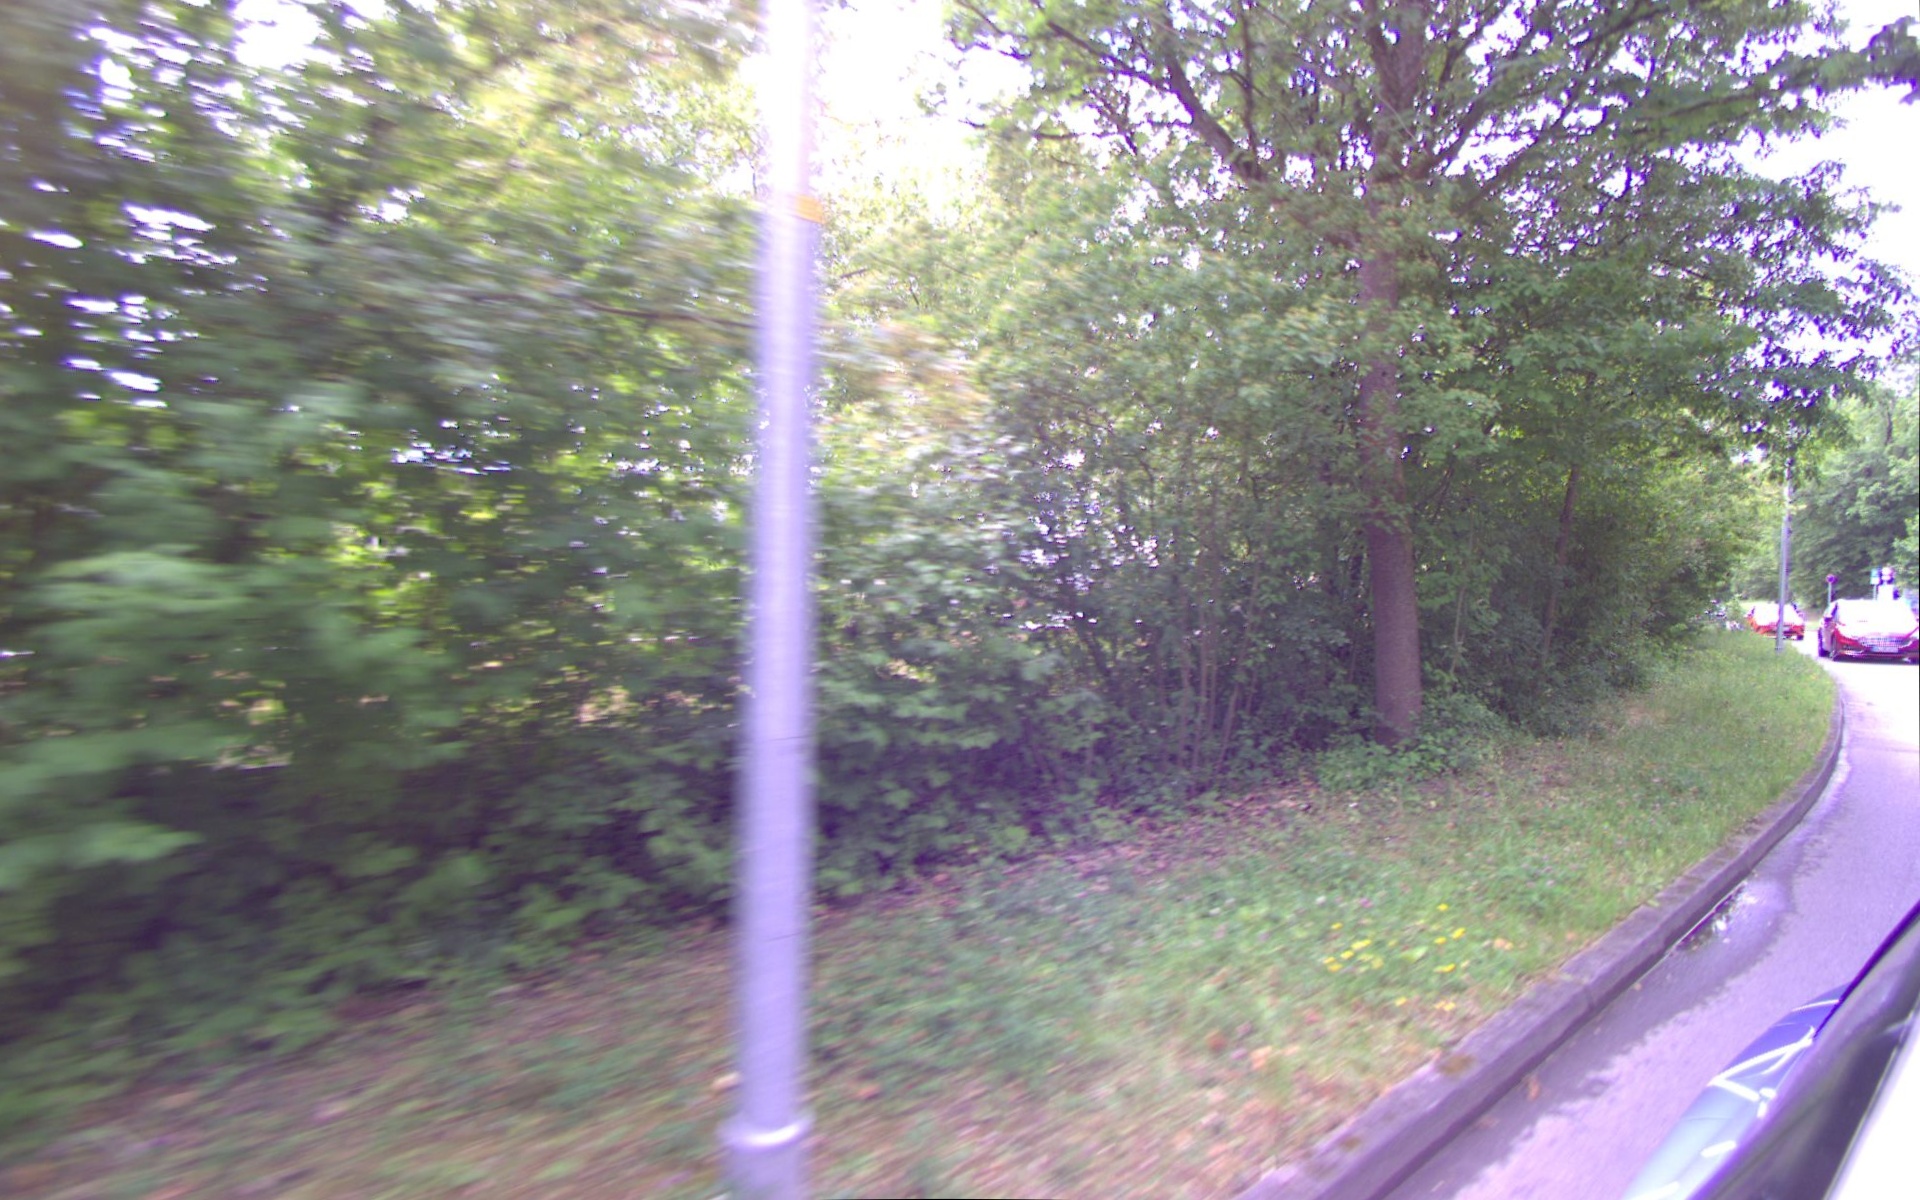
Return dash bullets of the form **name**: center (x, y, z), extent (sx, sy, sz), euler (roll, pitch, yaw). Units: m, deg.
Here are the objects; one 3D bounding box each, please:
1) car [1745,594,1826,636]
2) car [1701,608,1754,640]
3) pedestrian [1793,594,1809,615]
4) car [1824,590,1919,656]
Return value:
- **car**: center (34.567, 0.597, 42.470), extent (1.984, 1.593, 3.956), euler (3, 2, 31)
- **car**: center (43.774, 1.322, 57.786), extent (1.906, 1.616, 3.856), euler (3, 2, 30)
- **pedestrian**: center (69.077, 0.337, 83.138), extent (0.755, 1.683, 0.801), euler (3, 1, 27)
- **car**: center (24.927, 0.584, 27.437), extent (1.851, 1.638, 4.419), euler (1, 0, 35)
